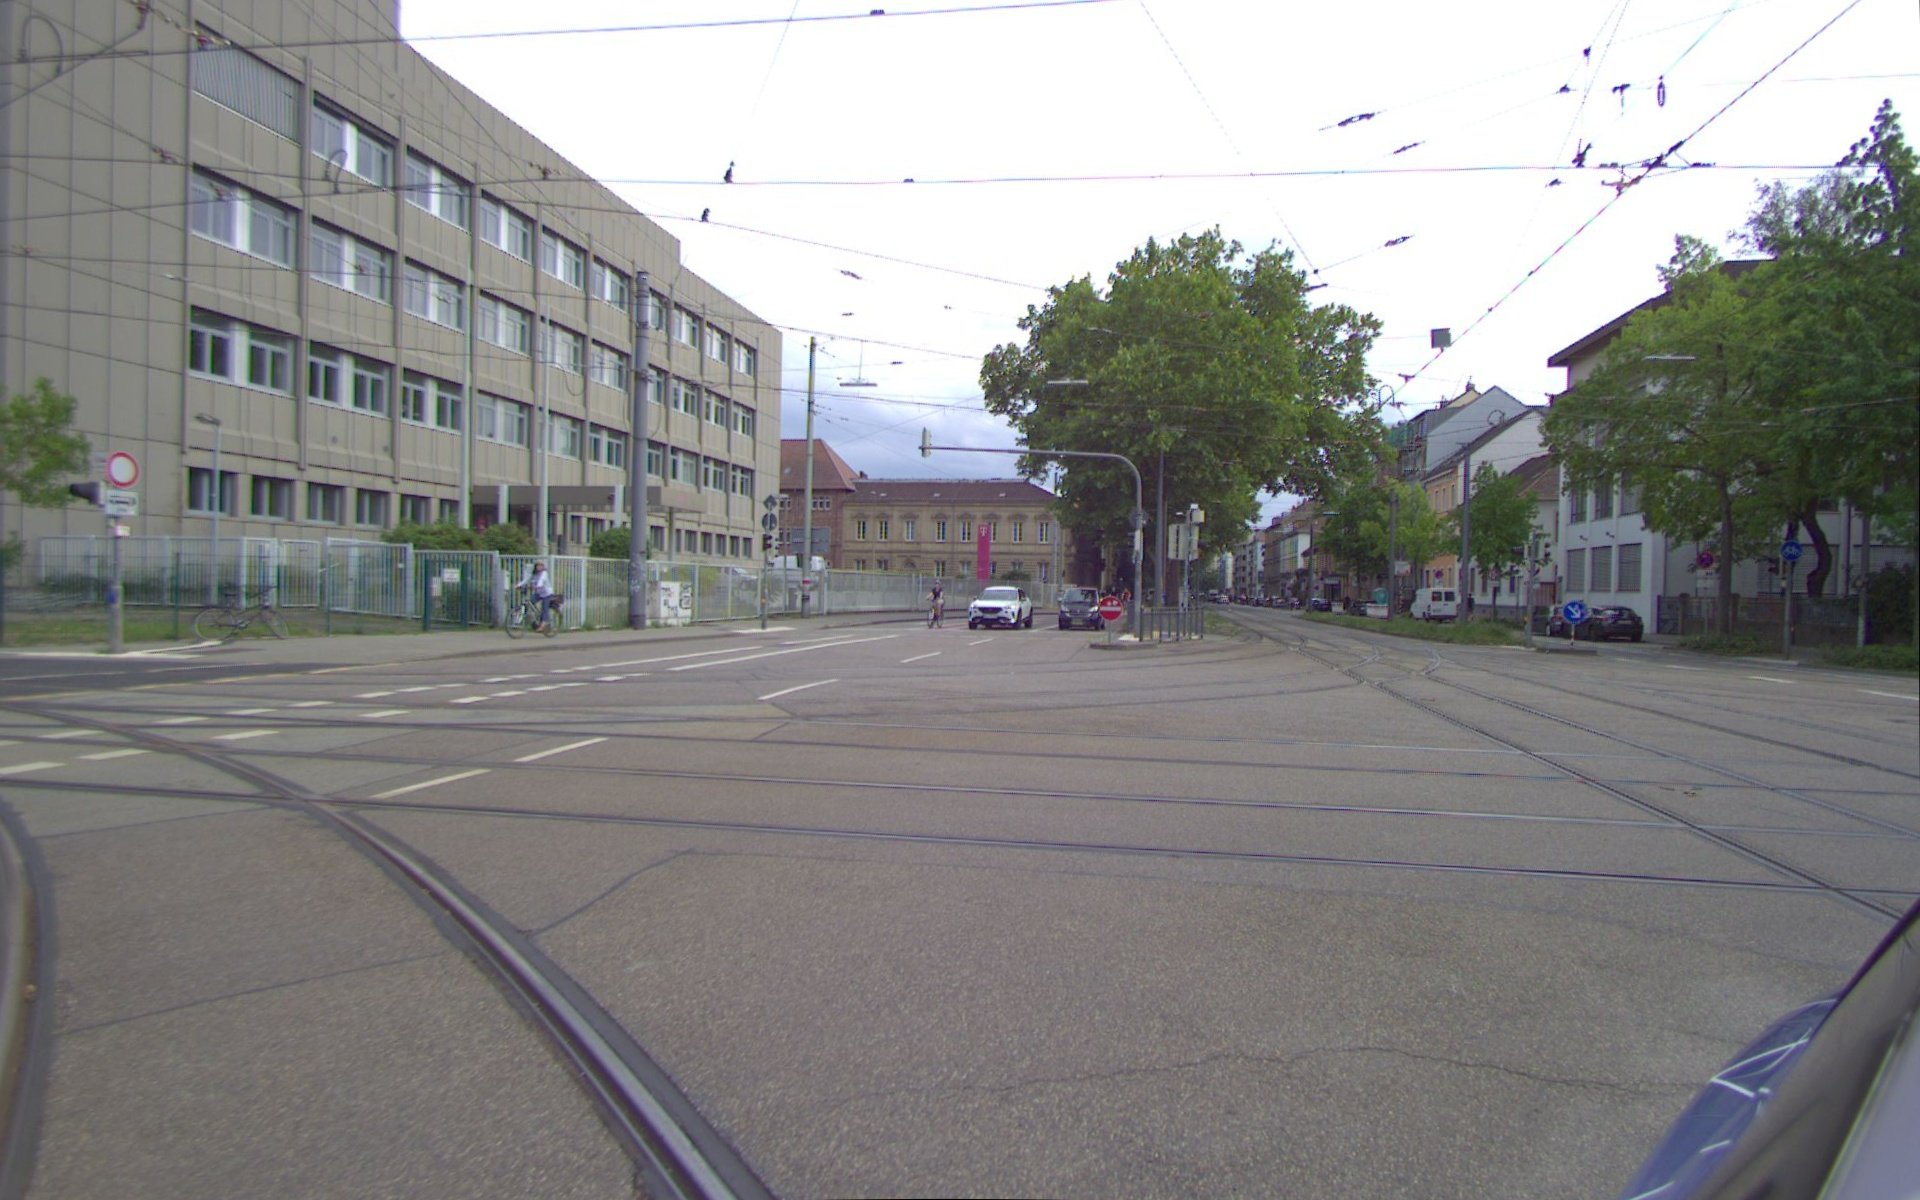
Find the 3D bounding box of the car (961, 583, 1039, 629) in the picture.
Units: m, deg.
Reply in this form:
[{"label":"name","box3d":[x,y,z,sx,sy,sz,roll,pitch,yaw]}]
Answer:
[{"label":"car","box3d":[1.500,0.192,36.350,1.970,1.523,4.402,2,0,13]}]

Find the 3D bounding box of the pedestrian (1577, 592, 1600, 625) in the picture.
[{"label":"pedestrian","box3d":[32.675,0.438,52.636,0.757,1.671,0.763,1,0,14]}]

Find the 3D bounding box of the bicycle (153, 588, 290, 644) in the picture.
[{"label":"bicycle","box3d":[-14.401,0.297,19.818,2.118,0.993,0.634,-2,2,-35]}]

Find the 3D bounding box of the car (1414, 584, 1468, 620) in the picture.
[{"label":"car","box3d":[31.527,0.128,66.487,2.065,2.217,4.406,2,0,11]}]

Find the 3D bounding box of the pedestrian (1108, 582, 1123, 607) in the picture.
[{"label":"pedestrian","box3d":[11.693,-0.409,76.239,0.826,1.888,1.167,1,0,21]}]

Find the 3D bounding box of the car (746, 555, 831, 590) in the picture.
[{"label":"car","box3d":[-12.952,-2.059,76.527,5.803,2.429,2.562,2,0,9]}]

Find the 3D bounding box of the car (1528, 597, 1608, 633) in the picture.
[{"label":"car","box3d":[27.981,0.655,46.729,1.733,1.555,4.406,2,0,11]}]

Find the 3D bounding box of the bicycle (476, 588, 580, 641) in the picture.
[{"label":"bicycle","box3d":[-9.709,0.323,22.854,0.794,1.100,2.166,2,0,24]}]

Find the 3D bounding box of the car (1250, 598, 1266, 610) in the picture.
[{"label":"car","box3d":[49.776,0.712,169.058,2.066,1.890,4.404,2,0,12]}]

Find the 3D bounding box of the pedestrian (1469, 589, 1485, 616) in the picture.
[{"label":"pedestrian","box3d":[35.428,0.188,69.401,0.757,1.803,0.763,1,0,12]}]

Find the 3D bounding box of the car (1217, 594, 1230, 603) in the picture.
[{"label":"car","box3d":[47.039,-0.225,180.752,1.816,1.510,3.739,1,-1,7]}]

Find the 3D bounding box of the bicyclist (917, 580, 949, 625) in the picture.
[{"label":"bicyclist","box3d":[-0.981,0.086,37.129,0.791,1.569,1.323,2,0,15]}]

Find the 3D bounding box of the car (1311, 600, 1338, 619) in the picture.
[{"label":"car","box3d":[39.115,1.003,108.633,2.065,1.830,4.406,2,0,11]}]

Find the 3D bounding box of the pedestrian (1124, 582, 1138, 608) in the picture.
[{"label":"pedestrian","box3d":[12.865,-0.381,76.128,0.826,1.888,1.242,1,0,21]}]

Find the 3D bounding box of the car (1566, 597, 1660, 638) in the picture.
[{"label":"car","box3d":[27.028,0.676,42.044,1.709,1.581,4.406,2,0,11]}]

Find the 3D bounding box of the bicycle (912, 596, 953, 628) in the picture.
[{"label":"bicycle","box3d":[-0.995,0.432,37.105,0.791,1.100,2.550,2,1,15]}]

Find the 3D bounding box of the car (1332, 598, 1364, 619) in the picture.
[{"label":"car","box3d":[37.621,0.800,98.281,2.065,1.830,4.406,2,0,11]}]

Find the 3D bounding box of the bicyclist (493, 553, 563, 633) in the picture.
[{"label":"bicyclist","box3d":[-9.717,-0.154,22.810,0.794,1.723,1.172,2,-1,25]}]

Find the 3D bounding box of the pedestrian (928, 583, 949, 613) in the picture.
[{"label":"pedestrian","box3d":[-1.181,-0.118,55.388,0.872,1.589,0.974,2,0,18]}]

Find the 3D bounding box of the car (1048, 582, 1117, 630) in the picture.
[{"label":"car","box3d":[4.522,0.201,36.870,1.811,1.586,4.398,2,0,16]}]
